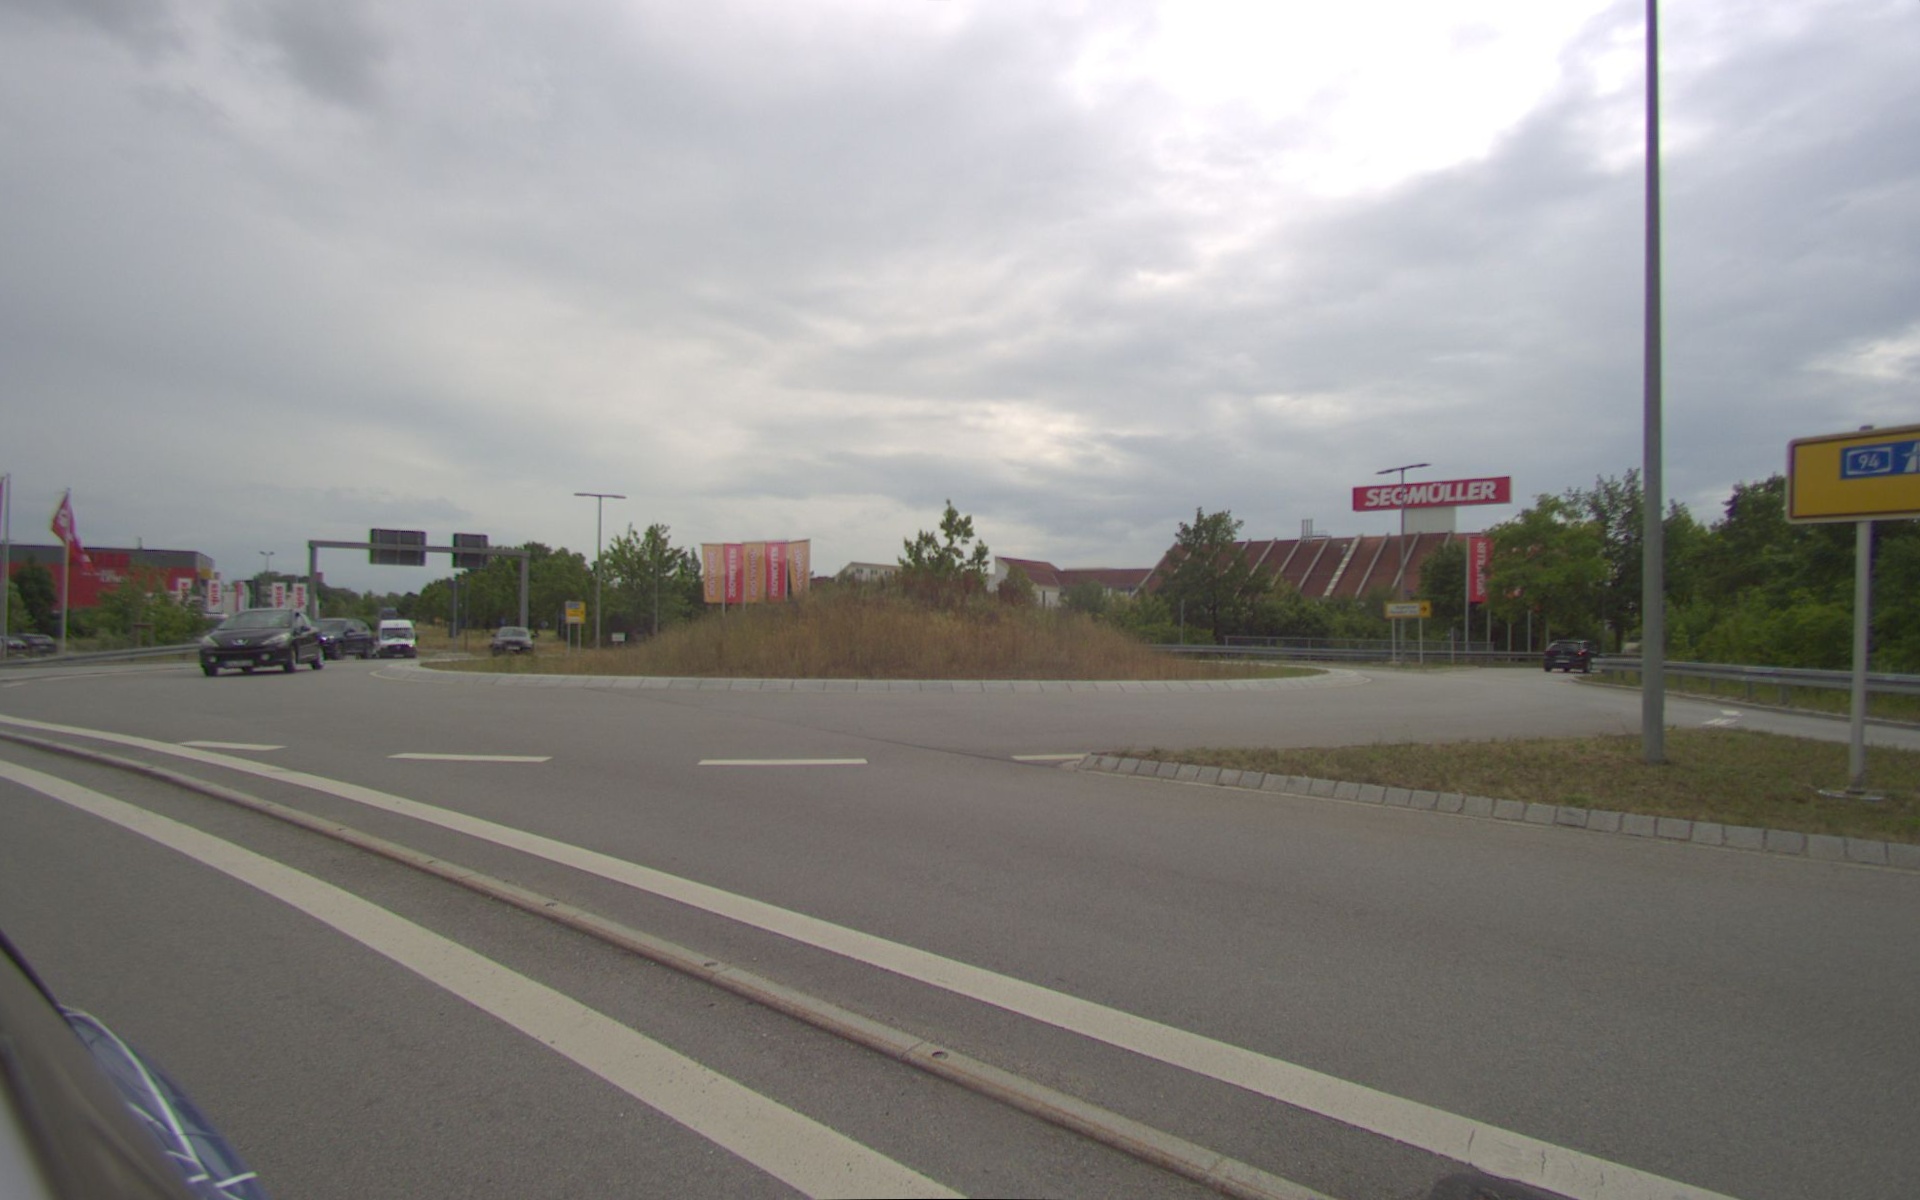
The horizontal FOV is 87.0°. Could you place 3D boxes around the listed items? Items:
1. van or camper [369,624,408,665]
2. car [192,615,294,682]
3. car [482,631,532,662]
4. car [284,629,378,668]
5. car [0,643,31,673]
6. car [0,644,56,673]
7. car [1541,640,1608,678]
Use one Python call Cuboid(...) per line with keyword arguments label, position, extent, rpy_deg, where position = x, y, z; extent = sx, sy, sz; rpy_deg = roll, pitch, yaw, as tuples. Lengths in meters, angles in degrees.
Cuboid(label="van or camper", position=(-35.654, 2.738, 63.130), extent=(2.018, 2.382, 5.558), rpy_deg=(0, -2, -30))
Cuboid(label="car", position=(-15.974, 1.102, 22.710), extent=(1.554, 1.364, 3.834), rpy_deg=(0, -3, -31))
Cuboid(label="car", position=(-20.315, 2.058, 45.467), extent=(1.554, 1.278, 3.323), rpy_deg=(0, -1, -15))
Cuboid(label="car", position=(-25.056, 1.880, 40.498), extent=(1.830, 1.422, 4.569), rpy_deg=(0, -1, -13))
Cuboid(label="car", position=(-56.566, 3.411, 58.922), extent=(4.036, 1.635, 1.643), rpy_deg=(-2, -4, 13))
Cuboid(label="car", position=(-57.768, 3.609, 61.833), extent=(4.037, 1.635, 1.729), rpy_deg=(-3, -4, 13))
Cuboid(label="car", position=(26.739, 2.532, 44.032), extent=(3.260, 1.520, 1.566), rpy_deg=(1, -2, -41))
